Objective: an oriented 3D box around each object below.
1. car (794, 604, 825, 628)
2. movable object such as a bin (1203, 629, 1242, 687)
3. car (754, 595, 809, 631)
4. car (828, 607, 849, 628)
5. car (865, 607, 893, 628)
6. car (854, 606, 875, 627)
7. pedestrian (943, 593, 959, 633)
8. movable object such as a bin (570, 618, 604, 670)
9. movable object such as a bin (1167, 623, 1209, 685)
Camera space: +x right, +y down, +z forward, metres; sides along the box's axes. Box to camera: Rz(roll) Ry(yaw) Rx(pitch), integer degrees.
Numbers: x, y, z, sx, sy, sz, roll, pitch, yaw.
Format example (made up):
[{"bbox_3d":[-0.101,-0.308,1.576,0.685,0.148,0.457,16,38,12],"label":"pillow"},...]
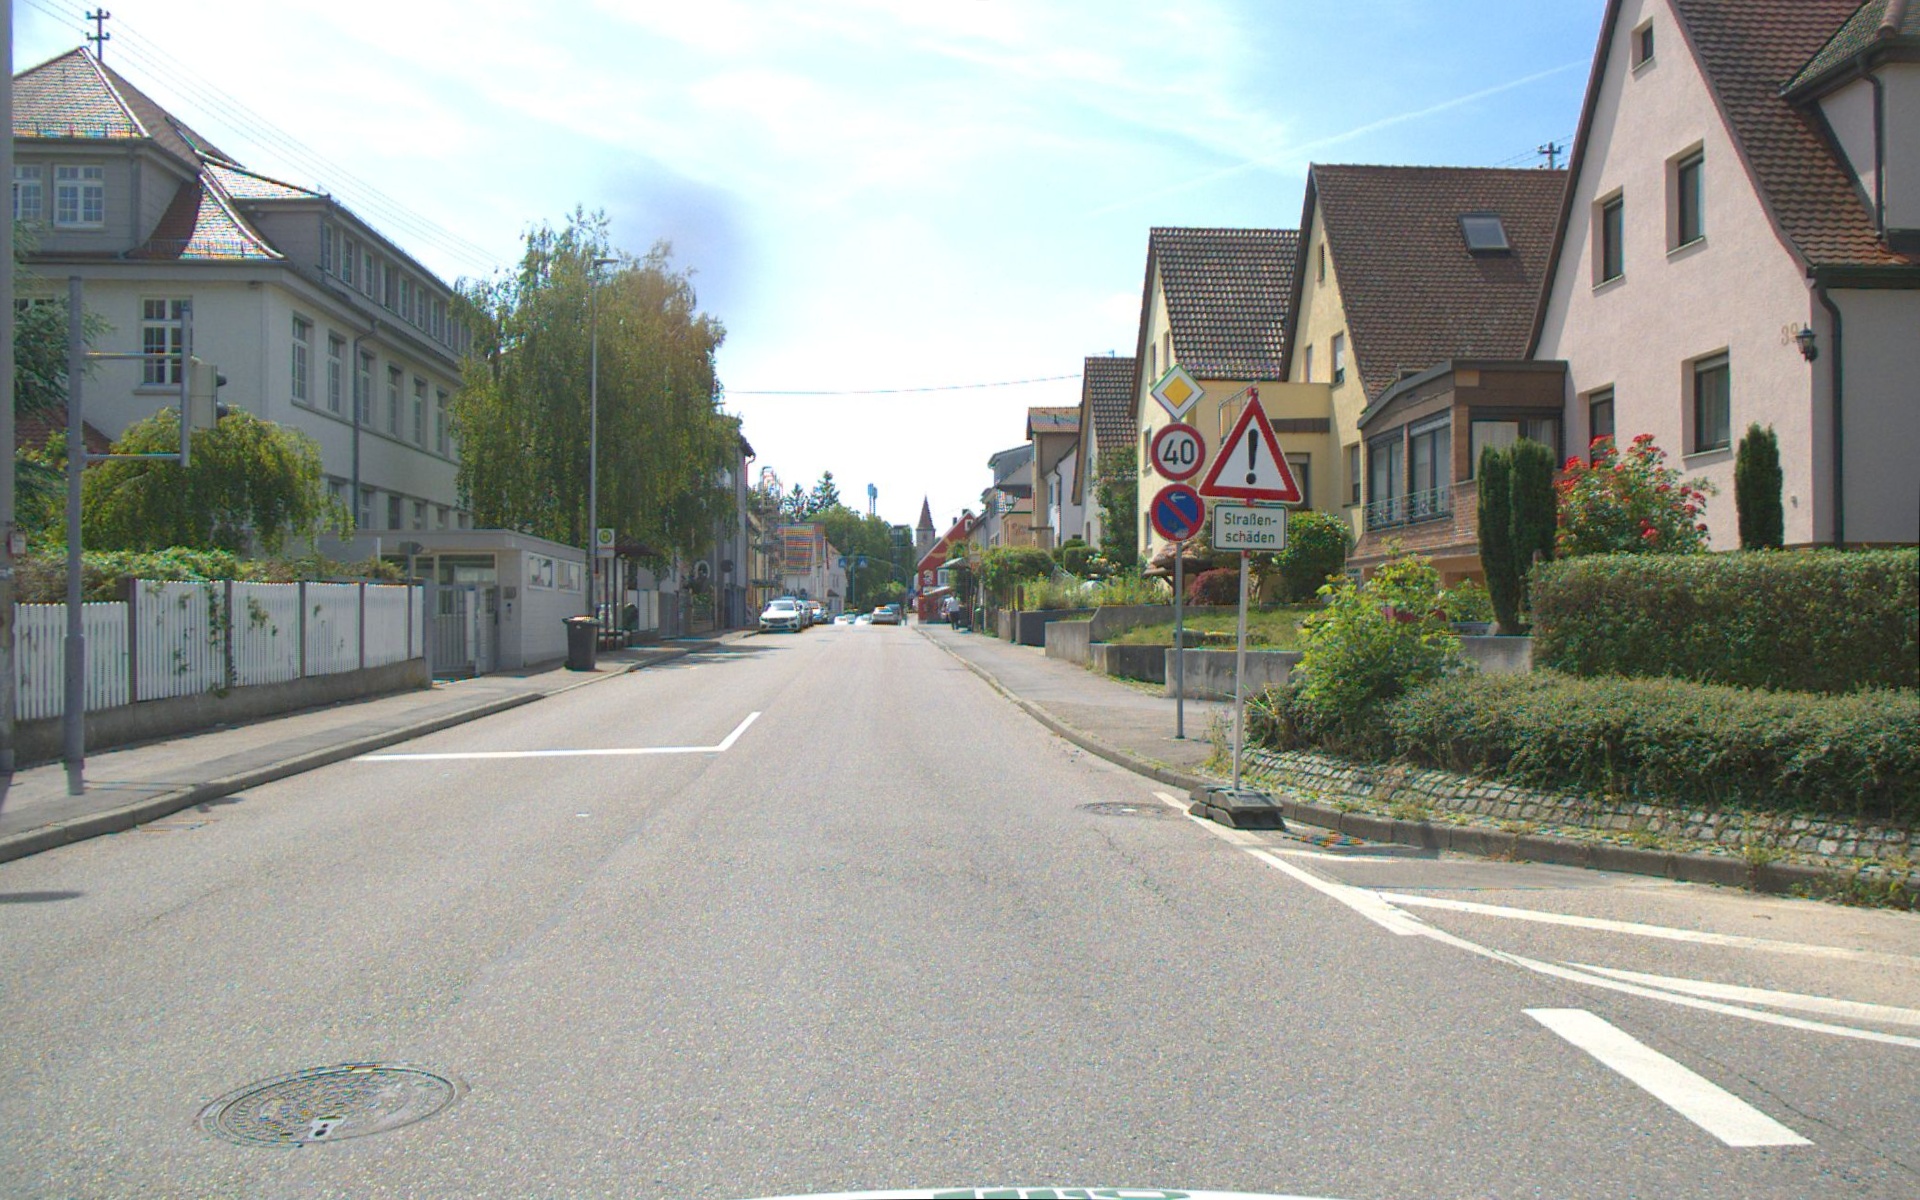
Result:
[{"bbox_3d":[-10.199,1.064,112.178,1.954,1.588,4.311,-1,0,-3],"label":"car"},{"bbox_3d":[4.892,1.070,30.810,0.518,1.006,0.563,6,0,-3],"label":"movable object such as a bin"},{"bbox_3d":[-8.218,0.597,76.432,2.067,1.588,4.313,-1,0,-1],"label":"car"},{"bbox_3d":[-12.780,1.832,173.558,1.953,2.049,3.999,-1,0,-1],"label":"car"},{"bbox_3d":[-6.501,1.390,131.990,1.955,1.588,4.308,-1,0,-6],"label":"car"},{"bbox_3d":[-9.828,1.699,170.547,1.953,2.049,3.999,-1,0,-1],"label":"car"},{"bbox_3d":[-0.422,0.602,74.980,0.633,1.760,0.608,-3,0,-3],"label":"pedestrian"},{"bbox_3d":[-7.893,0.933,35.000,0.595,1.064,0.725,0,1,-3],"label":"movable object such as a bin"},{"bbox_3d":[4.239,0.998,30.759,0.571,1.097,0.733,4,0,-3],"label":"movable object such as a bin"}]
